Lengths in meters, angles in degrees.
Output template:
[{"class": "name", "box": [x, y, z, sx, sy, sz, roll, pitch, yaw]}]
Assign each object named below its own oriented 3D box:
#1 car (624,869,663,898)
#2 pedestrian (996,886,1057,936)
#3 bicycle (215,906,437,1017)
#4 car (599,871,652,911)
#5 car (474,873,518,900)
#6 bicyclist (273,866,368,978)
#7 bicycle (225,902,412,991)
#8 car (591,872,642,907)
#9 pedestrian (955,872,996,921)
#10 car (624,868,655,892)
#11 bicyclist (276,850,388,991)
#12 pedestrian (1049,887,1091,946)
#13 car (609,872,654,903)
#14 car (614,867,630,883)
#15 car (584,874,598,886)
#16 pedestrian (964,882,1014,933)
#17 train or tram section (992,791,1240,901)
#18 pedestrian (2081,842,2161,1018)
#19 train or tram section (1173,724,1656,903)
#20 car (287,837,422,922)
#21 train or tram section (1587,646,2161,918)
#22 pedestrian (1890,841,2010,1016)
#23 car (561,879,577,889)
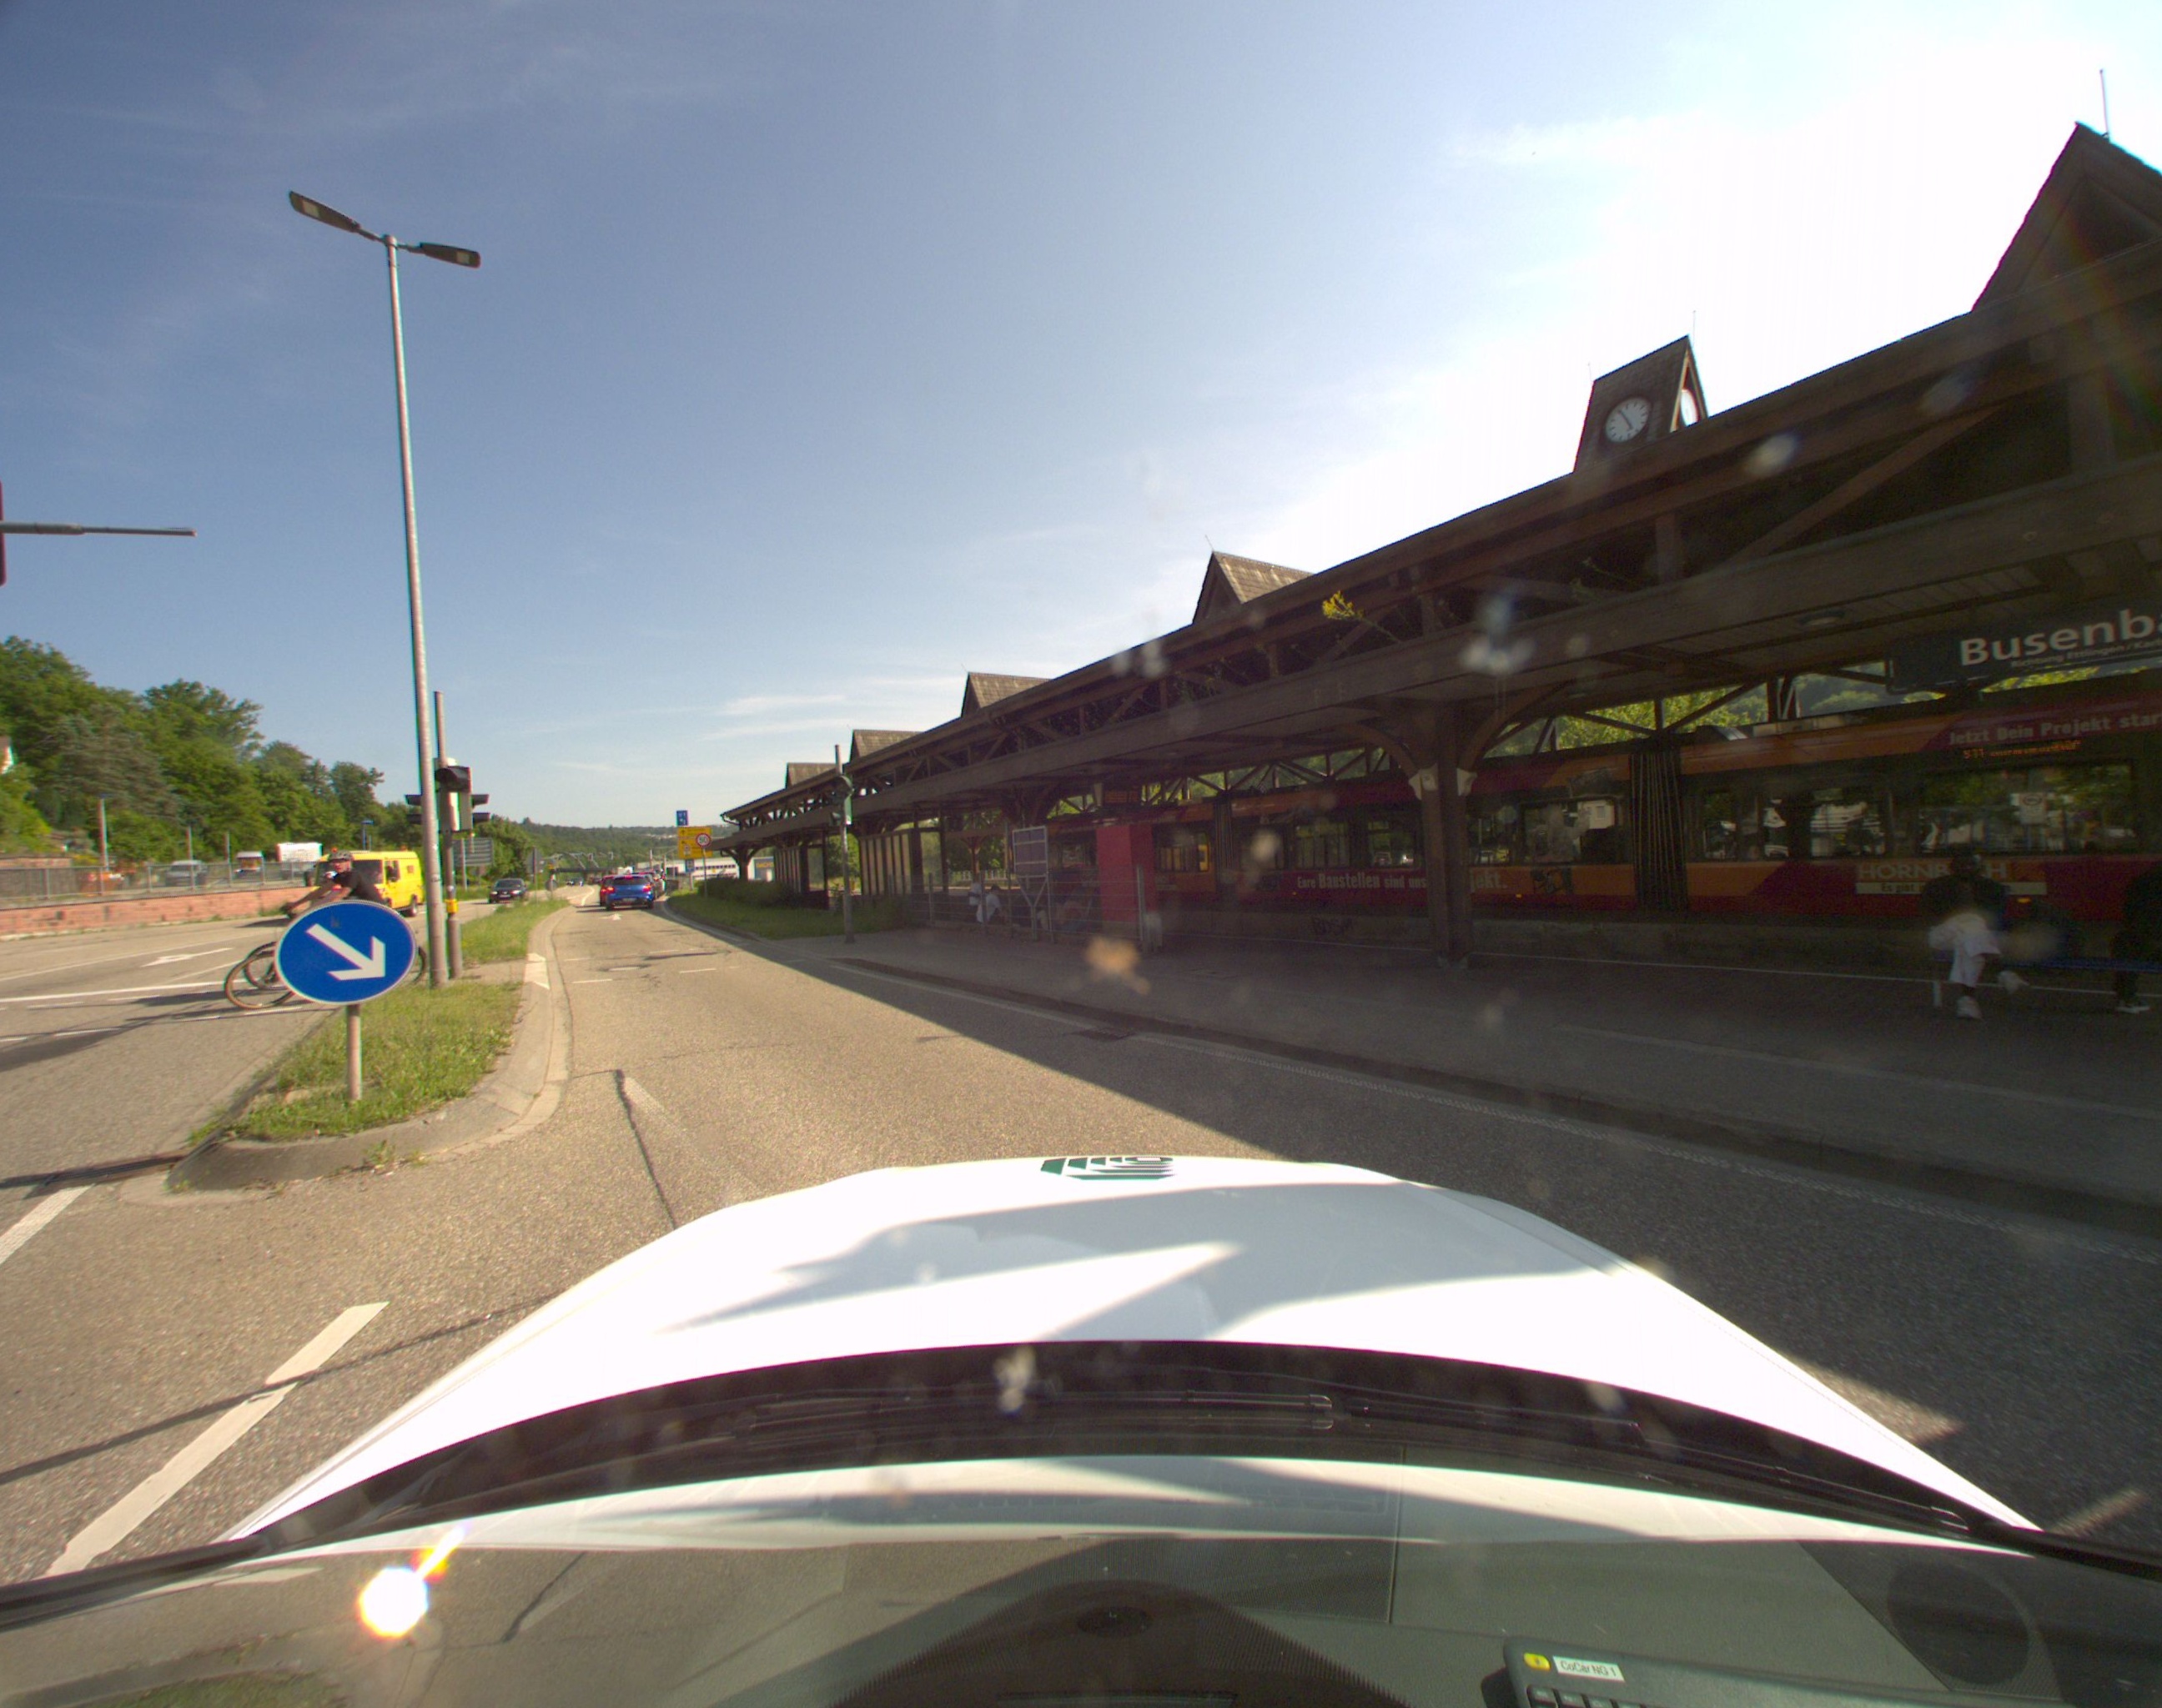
[{"class": "car", "box": [-26.849, 1.780, 49.976, 2.005, 1.687, 4.455, 0, -1, -28]}, {"class": "pedestrian", "box": [-1.036, 1.067, 15.445, 0.851, 0.874, 0.799, 0, -1, -38]}, {"class": "bicycle", "box": [-9.490, 1.306, 10.361, 2.010, 1.162, 0.726, 0, -1, -40]}, {"class": "car", "box": [-19.476, 1.526, 34.766, 1.880, 1.548, 3.961, -1, -1, -31]}, {"class": "car", "box": [-35.182, 1.949, 49.065, 1.757, 1.462, 4.004, -2, 0, -31]}, {"class": "bicyclist", "box": [-11.449, 0.983, 12.284, 0.962, 1.564, 0.797, -3, 1, -43]}, {"class": "bicycle", "box": [-11.418, 1.352, 12.310, 1.983, 1.064, 0.726, -3, 2, -40]}, {"class": "car", "box": [-22.480, 1.675, 39.517, 2.005, 1.571, 3.963, -1, -1, -28]}, {"class": "pedestrian", "box": [-2.517, 0.993, 19.377, 0.748, 1.116, 0.660, 0, -1, -38]}, {"class": "car", "box": [-33.635, 1.955, 62.056, 2.005, 1.736, 3.963, 0, -1, -28]}, {"class": "bicyclist", "box": [-9.485, 0.797, 10.364, 0.998, 1.691, 0.797, 0, -1, -40]}, {"class": "pedestrian", "box": [-0.187, 1.057, 14.023, 0.622, 0.966, 0.402, 0, -1, -38]}, {"class": "car", "box": [-24.457, 1.781, 44.395, 2.005, 1.531, 4.559, -2, 0, -28]}, {"class": "car", "box": [-66.409, 3.045, 117.737, 2.006, 2.144, 4.674, 0, -1, -30]}, {"class": "car", "box": [-86.662, 4.615, 144.153, 2.006, 2.014, 3.961, -1, -1, -30]}, {"class": "pedestrian", "box": [-1.878, 1.071, 16.623, 0.748, 0.982, 0.760, 0, -1, -38]}, {"class": "train or tram section", "box": [0.697, -0.151, 30.802, 2.776, 3.364, 11.919, 0, -1, -34]}, {"class": "pedestrian", "box": [7.707, 0.495, 5.588, 1.015, 1.160, 0.937, -1, -1, -44]}, {"class": "train or tram section", "box": [7.369, -0.578, 21.015, 2.807, 3.364, 11.918, 0, -2, -34]}, {"class": "car", "box": [-28.426, 0.984, 32.198, 2.481, 3.011, 6.407, 0, -1, -28]}, {"class": "train or tram section", "box": [14.900, -0.928, 10.419, 2.878, 3.365, 14.195, -1, -1, -36]}, {"class": "pedestrian", "box": [6.703, 0.528, 6.313, 1.000, 1.235, 0.589, 0, -1, -44]}, {"class": "car", "box": [-88.732, 5.181, 141.125, 1.801, 1.471, 4.674, -2, 0, -27]}]
